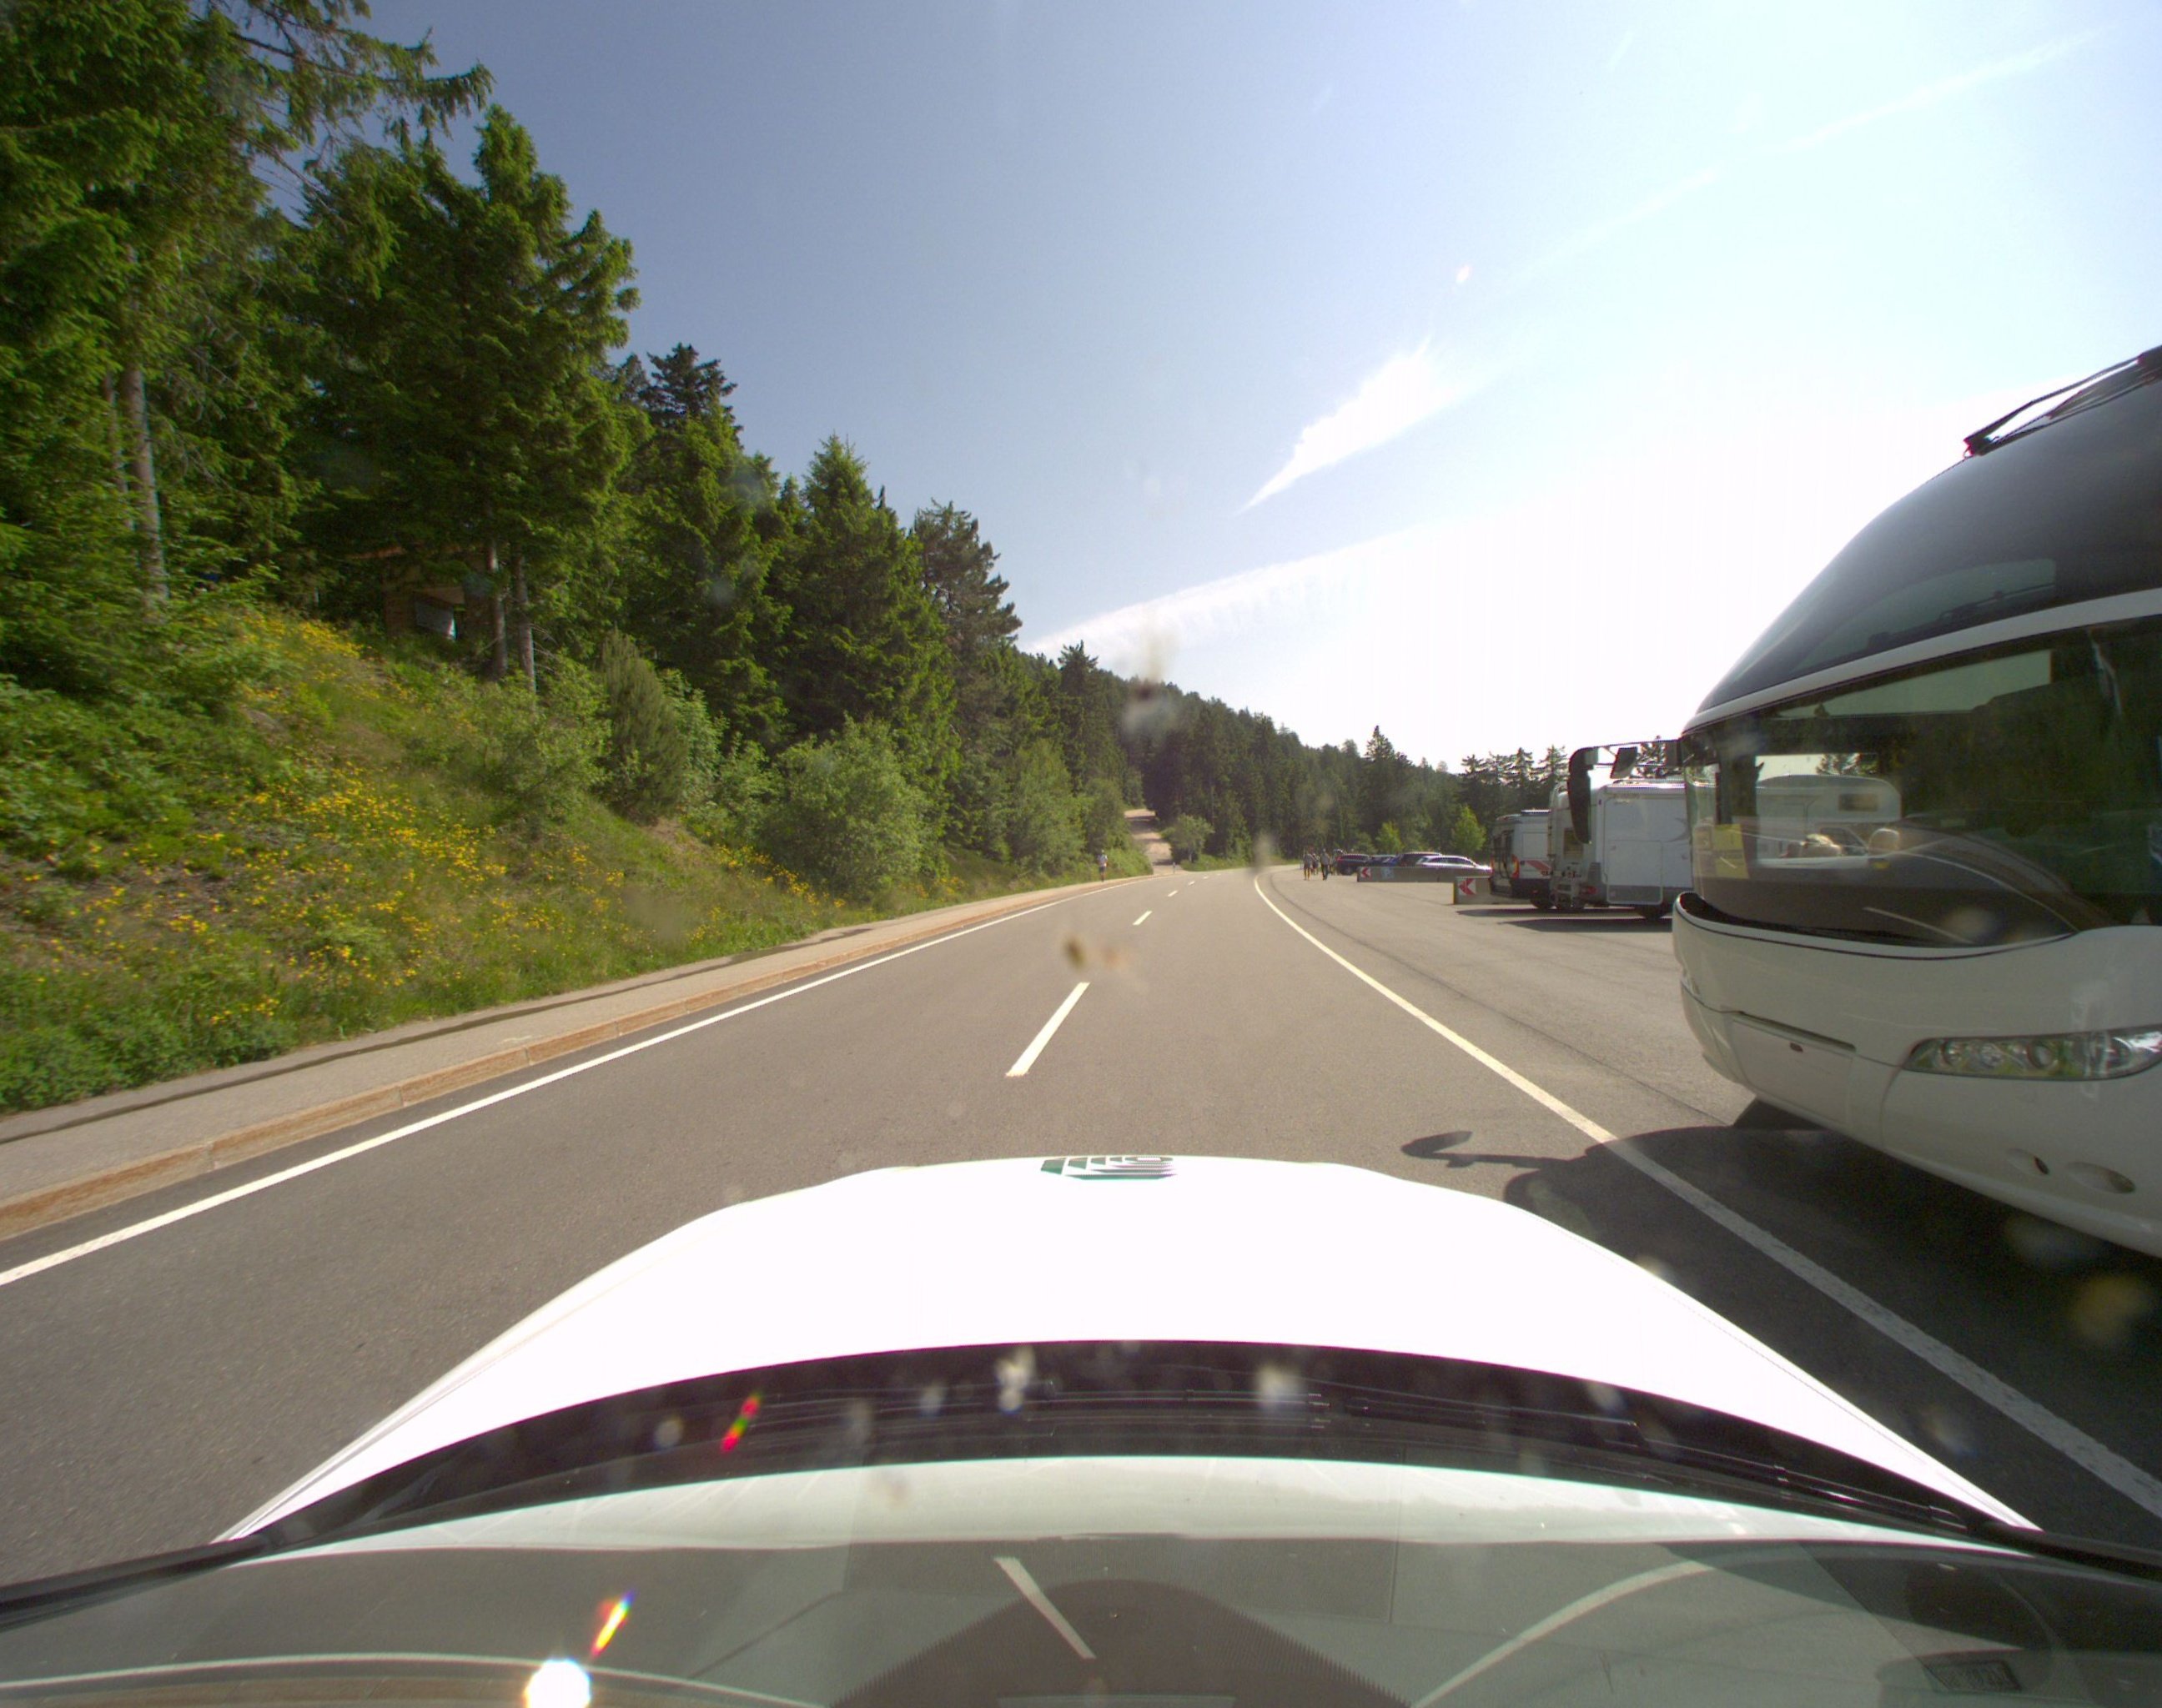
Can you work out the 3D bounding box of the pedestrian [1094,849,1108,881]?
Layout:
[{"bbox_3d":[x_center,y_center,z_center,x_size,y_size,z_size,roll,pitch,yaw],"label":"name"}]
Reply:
[{"bbox_3d":[1.076,0.583,44.081,0.679,1.746,0.826,-1,0,6],"label":"pedestrian"}]

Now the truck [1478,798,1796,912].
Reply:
[{"bbox_3d":[13.772,0.049,20.660,6.221,2.590,2.347,-1,0,10],"label":"truck"}]

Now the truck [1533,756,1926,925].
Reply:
[{"bbox_3d":[13.365,-0.224,17.286,6.029,3.196,2.538,-1,-1,8],"label":"truck"}]

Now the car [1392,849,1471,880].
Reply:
[{"bbox_3d":[20.458,0.610,47.646,3.966,1.647,1.603,1,0,7],"label":"car"}]

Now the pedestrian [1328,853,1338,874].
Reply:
[{"bbox_3d":[20.669,0.772,66.839,0.647,1.660,0.691,-2,1,24],"label":"pedestrian"}]

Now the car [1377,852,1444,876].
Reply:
[{"bbox_3d":[22.807,0.659,56.452,3.966,1.535,1.811,0,3,7],"label":"car"}]

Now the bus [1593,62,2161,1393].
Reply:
[{"bbox_3d":[9.197,-0.483,2.458,12.763,3.577,2.848,-1,0,11],"label":"bus"}]

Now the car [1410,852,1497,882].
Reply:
[{"bbox_3d":[20.372,0.692,44.656,3.965,1.476,1.777,1,0,8],"label":"car"}]

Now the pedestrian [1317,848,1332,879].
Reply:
[{"bbox_3d":[14.032,0.529,46.881,0.659,1.741,0.899,-1,0,24],"label":"pedestrian"}]

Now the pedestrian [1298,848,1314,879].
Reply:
[{"bbox_3d":[13.069,0.551,47.307,0.747,1.760,0.780,-1,0,24],"label":"pedestrian"}]

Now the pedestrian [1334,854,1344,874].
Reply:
[{"bbox_3d":[20.833,0.801,65.786,0.611,1.587,0.740,-2,1,30],"label":"pedestrian"}]

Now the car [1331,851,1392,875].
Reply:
[{"bbox_3d":[21.622,0.703,62.907,4.240,1.793,1.897,0,1,8],"label":"car"}]

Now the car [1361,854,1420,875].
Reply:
[{"bbox_3d":[22.712,0.766,59.862,3.734,1.567,1.602,0,0,4],"label":"car"}]

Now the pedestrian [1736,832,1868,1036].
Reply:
[{"bbox_3d":[5.887,0.618,6.685,0.624,1.567,0.631,-1,0,23],"label":"pedestrian"}]
